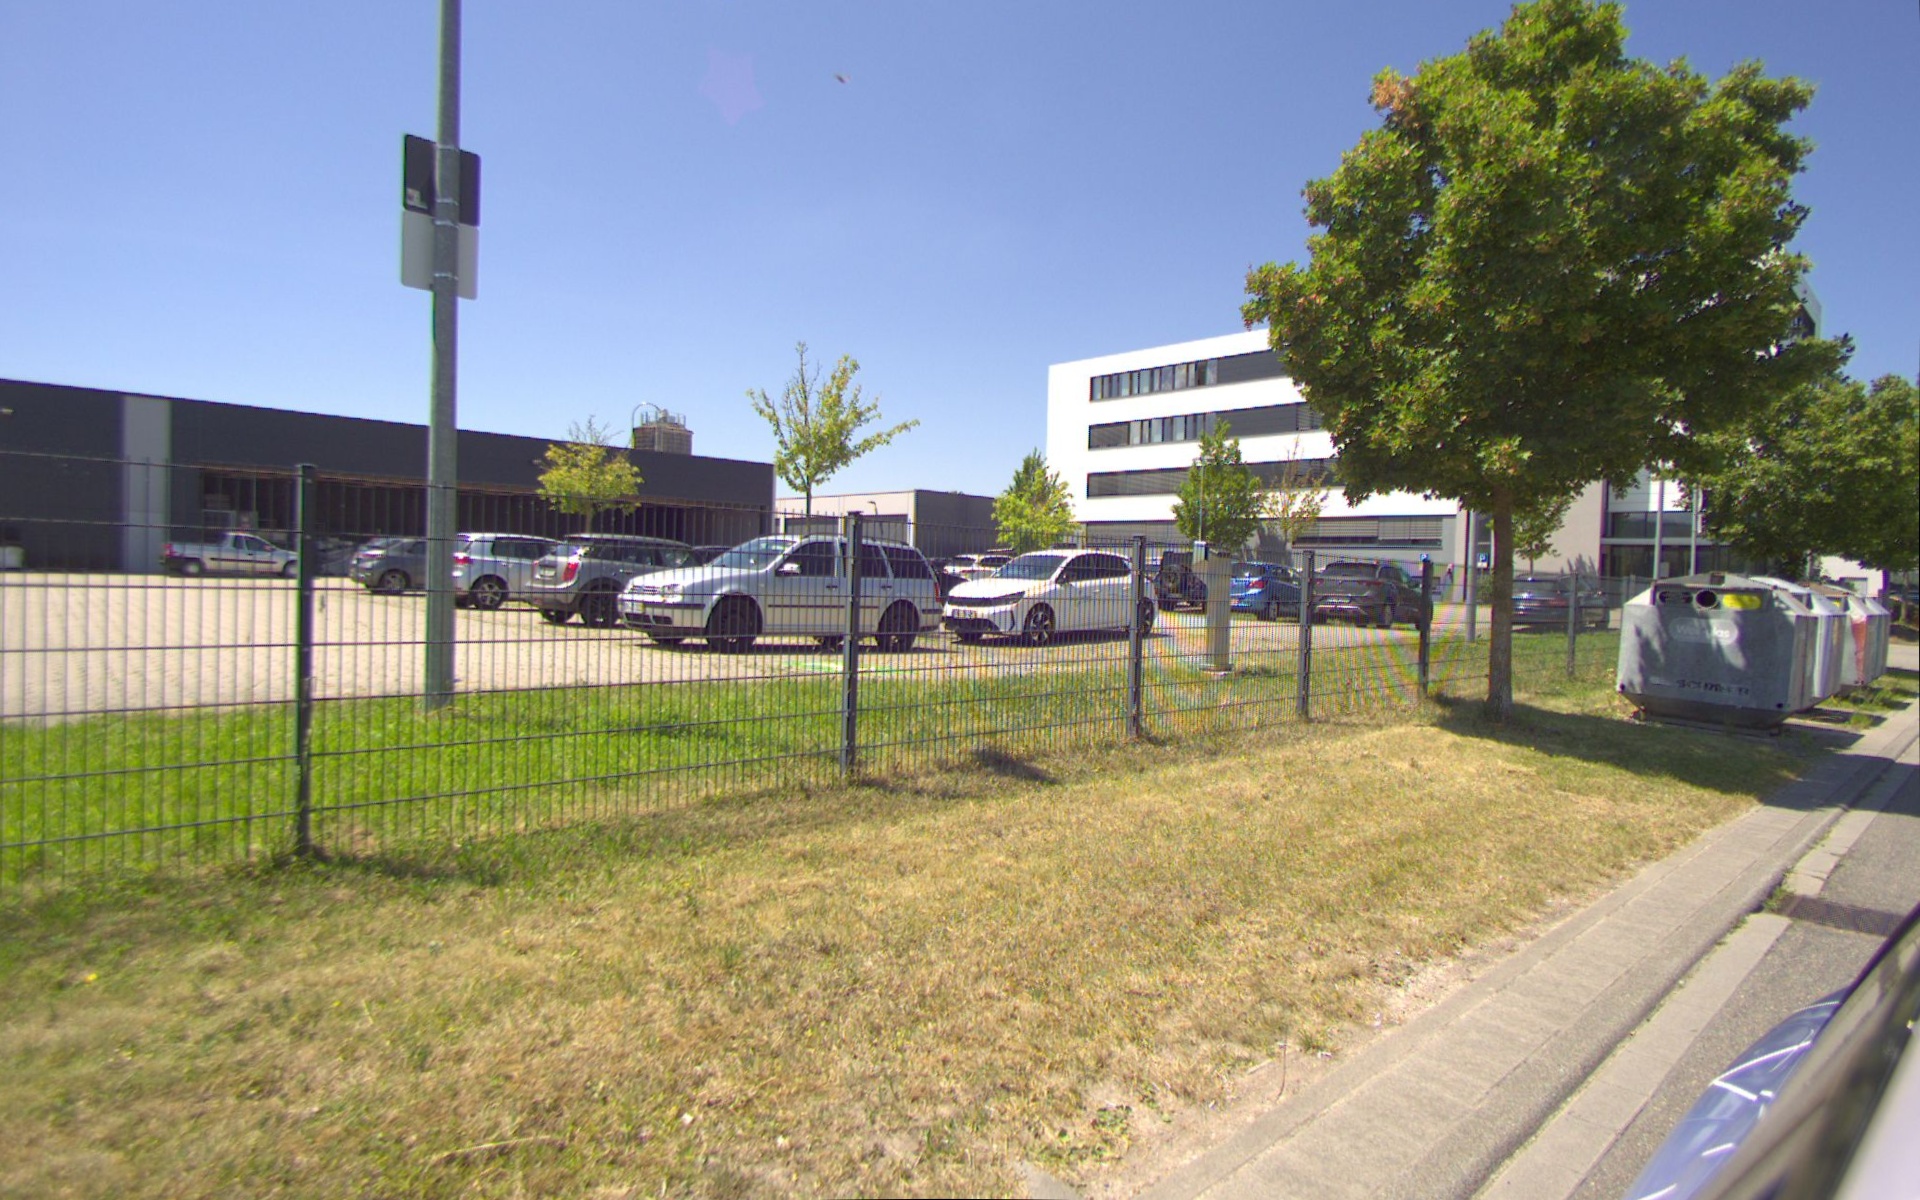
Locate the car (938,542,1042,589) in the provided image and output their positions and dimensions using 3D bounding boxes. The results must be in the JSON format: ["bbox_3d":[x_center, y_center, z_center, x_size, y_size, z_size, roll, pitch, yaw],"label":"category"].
[{"bbox_3d":[1.203,-1.318,39.970,3.855,1.557,1.829,4,-3,-41],"label":"car"}]

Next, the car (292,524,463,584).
[{"bbox_3d":[-16.226,-1.256,28.268,3.857,1.517,1.852,0,2,-42],"label":"car"}]

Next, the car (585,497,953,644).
[{"bbox_3d":[-2.270,-0.272,12.819,4.218,1.518,1.850,3,-1,-44],"label":"car"}]

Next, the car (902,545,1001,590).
[{"bbox_3d":[-0.333,-1.316,42.338,3.855,1.557,1.829,4,-3,-41],"label":"car"}]

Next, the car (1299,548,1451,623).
[{"bbox_3d":[9.832,-0.347,23.862,3.858,1.593,1.829,0,3,-43],"label":"car"}]

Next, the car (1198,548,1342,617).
[{"bbox_3d":[7.978,-0.386,25.884,3.857,1.474,1.828,4,-3,-43],"label":"car"}]

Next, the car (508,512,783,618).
[{"bbox_3d":[-5.042,-0.524,16.462,3.857,1.517,1.852,0,2,-42],"label":"car"}]

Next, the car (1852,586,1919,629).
[{"bbox_3d":[38.078,0.276,40.056,1.859,1.661,3.991,-1,0,-43],"label":"car"}]

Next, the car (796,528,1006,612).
[{"bbox_3d":[-1.121,-0.577,20.318,3.857,1.517,1.853,0,3,-42],"label":"car"}]

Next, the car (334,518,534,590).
[{"bbox_3d":[-13.396,-1.125,25.879,4.179,1.651,1.965,0,2,-42],"label":"car"}]

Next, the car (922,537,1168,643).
[{"bbox_3d":[1.445,-0.246,16.457,3.858,1.517,1.852,-3,4,-41],"label":"car"}]

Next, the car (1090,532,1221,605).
[{"bbox_3d":[5.901,-0.877,30.364,3.855,1.895,1.829,4,-3,-41],"label":"car"}]

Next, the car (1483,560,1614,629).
[{"bbox_3d":[14.886,-0.095,25.519,3.857,1.474,1.828,4,-3,-43],"label":"car"}]

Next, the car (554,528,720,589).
[{"bbox_3d":[-8.630,-1.120,27.211,3.858,1.517,1.852,-2,3,-41],"label":"car"}]

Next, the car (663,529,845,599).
[{"bbox_3d":[-4.861,-0.816,24.142,3.857,1.517,1.852,0,2,-42],"label":"car"}]

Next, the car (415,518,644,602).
[{"bbox_3d":[-8.615,-0.757,20.393,3.857,1.517,1.852,0,2,-42],"label":"car"}]

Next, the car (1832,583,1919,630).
[{"bbox_3d":[35.762,0.228,38.339,1.859,1.725,3.991,-1,0,-43],"label":"car"}]

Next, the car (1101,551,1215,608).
[{"bbox_3d":[6.831,-0.665,34.691,3.855,1.666,1.830,4,-3,-41],"label":"car"}]

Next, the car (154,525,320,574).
[{"bbox_3d":[-25.291,-1.739,35.495,4.529,1.517,1.851,0,2,-43],"label":"car"}]
